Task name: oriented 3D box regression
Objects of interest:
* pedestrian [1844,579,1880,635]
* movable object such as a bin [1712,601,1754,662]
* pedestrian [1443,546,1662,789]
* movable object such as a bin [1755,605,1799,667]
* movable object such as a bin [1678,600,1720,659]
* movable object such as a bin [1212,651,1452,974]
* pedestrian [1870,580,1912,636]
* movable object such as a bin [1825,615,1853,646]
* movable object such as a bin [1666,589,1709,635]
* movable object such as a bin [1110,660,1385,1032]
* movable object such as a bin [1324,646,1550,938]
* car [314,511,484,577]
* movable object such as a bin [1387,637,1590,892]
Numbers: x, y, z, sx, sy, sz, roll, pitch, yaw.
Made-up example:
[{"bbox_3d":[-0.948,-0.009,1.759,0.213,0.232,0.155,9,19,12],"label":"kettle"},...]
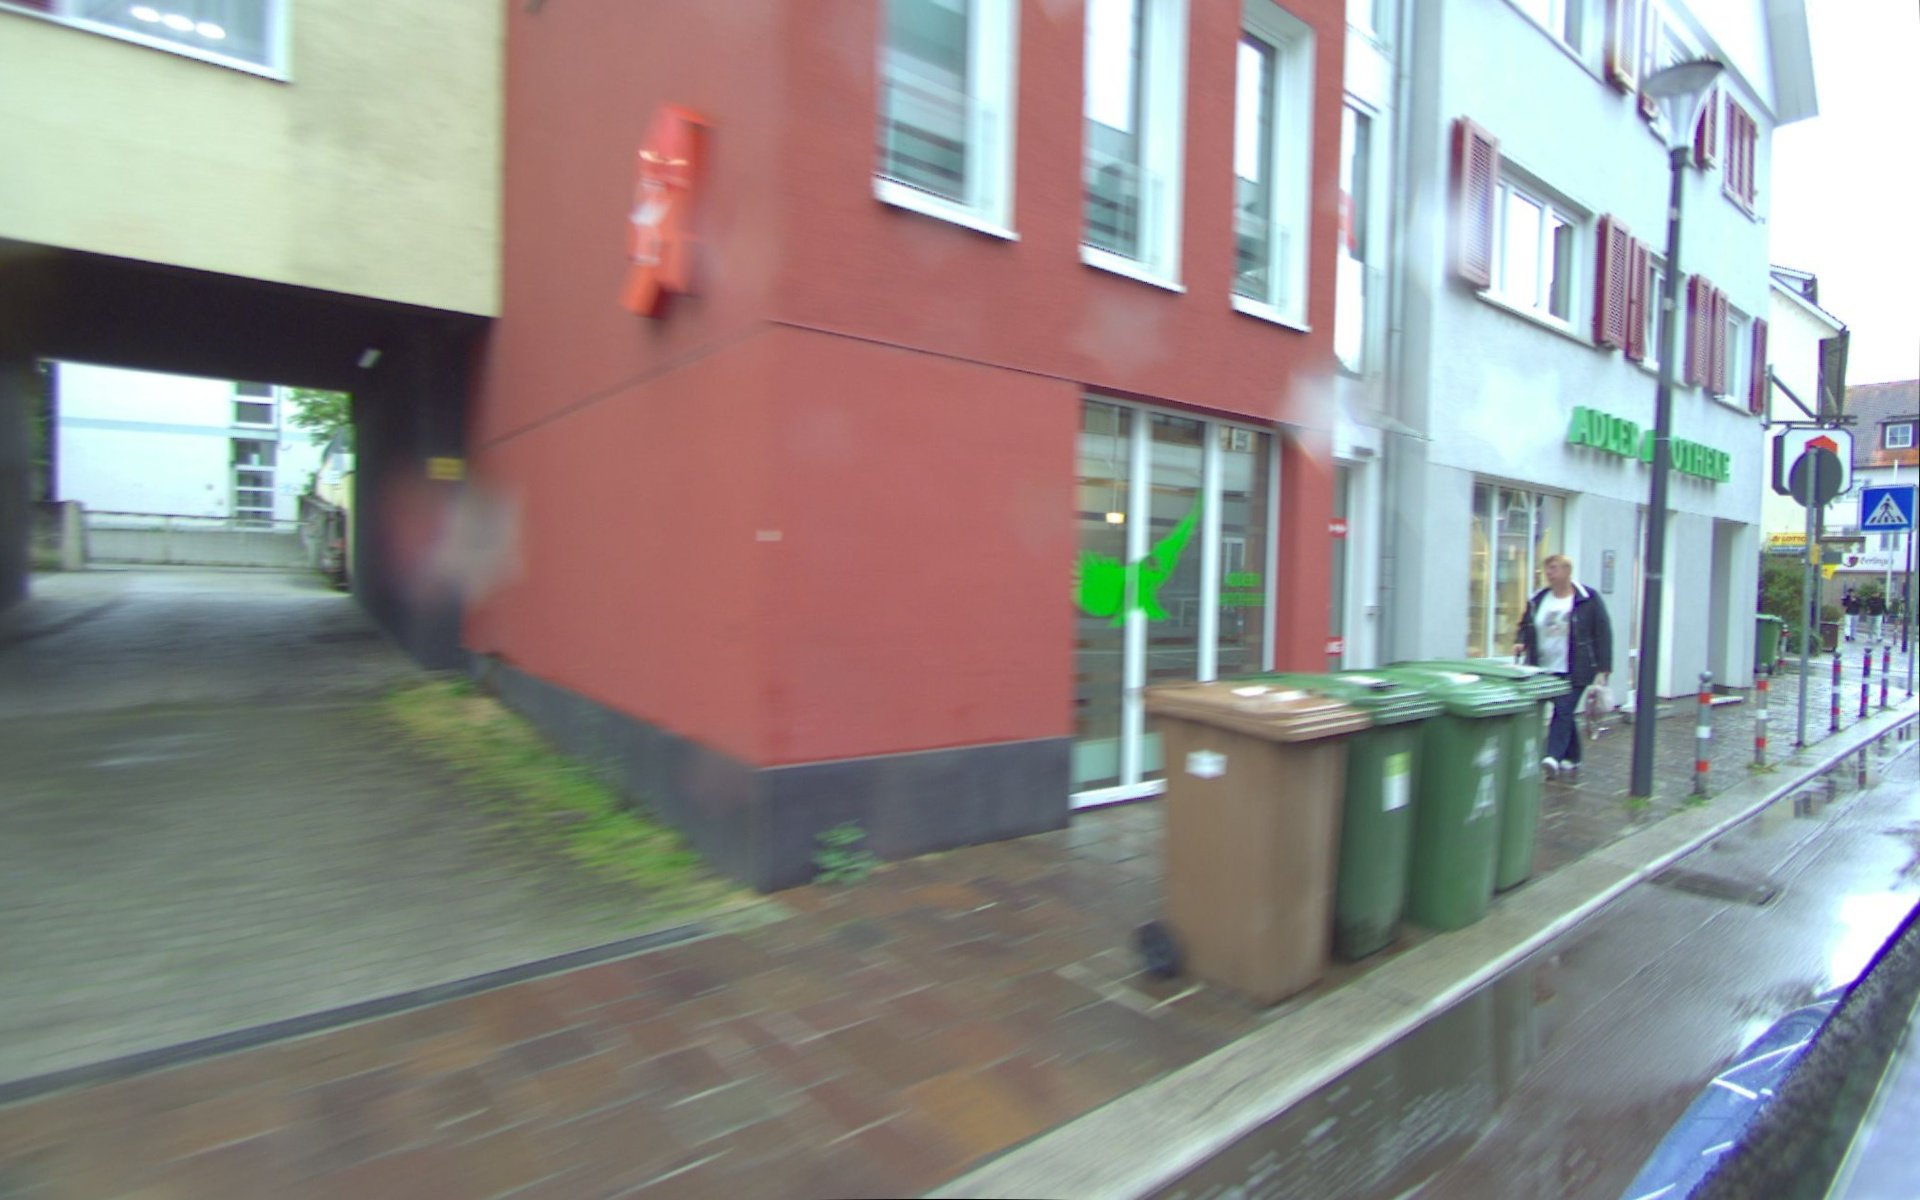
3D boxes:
[{"bbox_3d":[32.373,0.234,36.331,0.648,1.925,0.654,3,3,22],"label":"pedestrian"},{"bbox_3d":[14.630,0.587,19.150,0.539,1.069,0.501,-2,5,-42],"label":"movable object such as a bin"},{"bbox_3d":[4.705,0.453,8.044,1.158,1.718,1.179,0,3,-44],"label":"pedestrian"},{"bbox_3d":[15.102,0.657,18.716,0.539,1.069,0.501,-2,5,-42],"label":"movable object such as a bin"},{"bbox_3d":[14.277,0.554,19.550,0.539,1.069,0.501,-2,5,-42],"label":"movable object such as a bin"},{"bbox_3d":[1.520,0.801,4.164,0.603,1.108,0.712,-1,2,-40],"label":"movable object such as a bin"},{"bbox_3d":[32.998,0.277,35.872,0.765,1.927,0.799,2,3,22],"label":"pedestrian"},{"bbox_3d":[25.591,0.885,29.457,0.546,0.846,0.896,5,3,43],"label":"movable object such as a bin"},{"bbox_3d":[17.421,0.288,24.242,0.612,1.069,0.516,0,4,-12],"label":"movable object such as a bin"},{"bbox_3d":[1.037,0.811,3.697,0.635,1.094,0.730,-1,2,-40],"label":"movable object such as a bin"},{"bbox_3d":[2.127,0.789,4.522,0.685,1.097,0.677,-1,2,-40],"label":"movable object such as a bin"},{"bbox_3d":[-12.348,-1.225,22.345,3.076,1.371,1.399,-2,3,-39],"label":"car"},{"bbox_3d":[2.654,0.767,5.088,0.705,1.100,0.677,-1,2,-40],"label":"movable object such as a bin"}]
